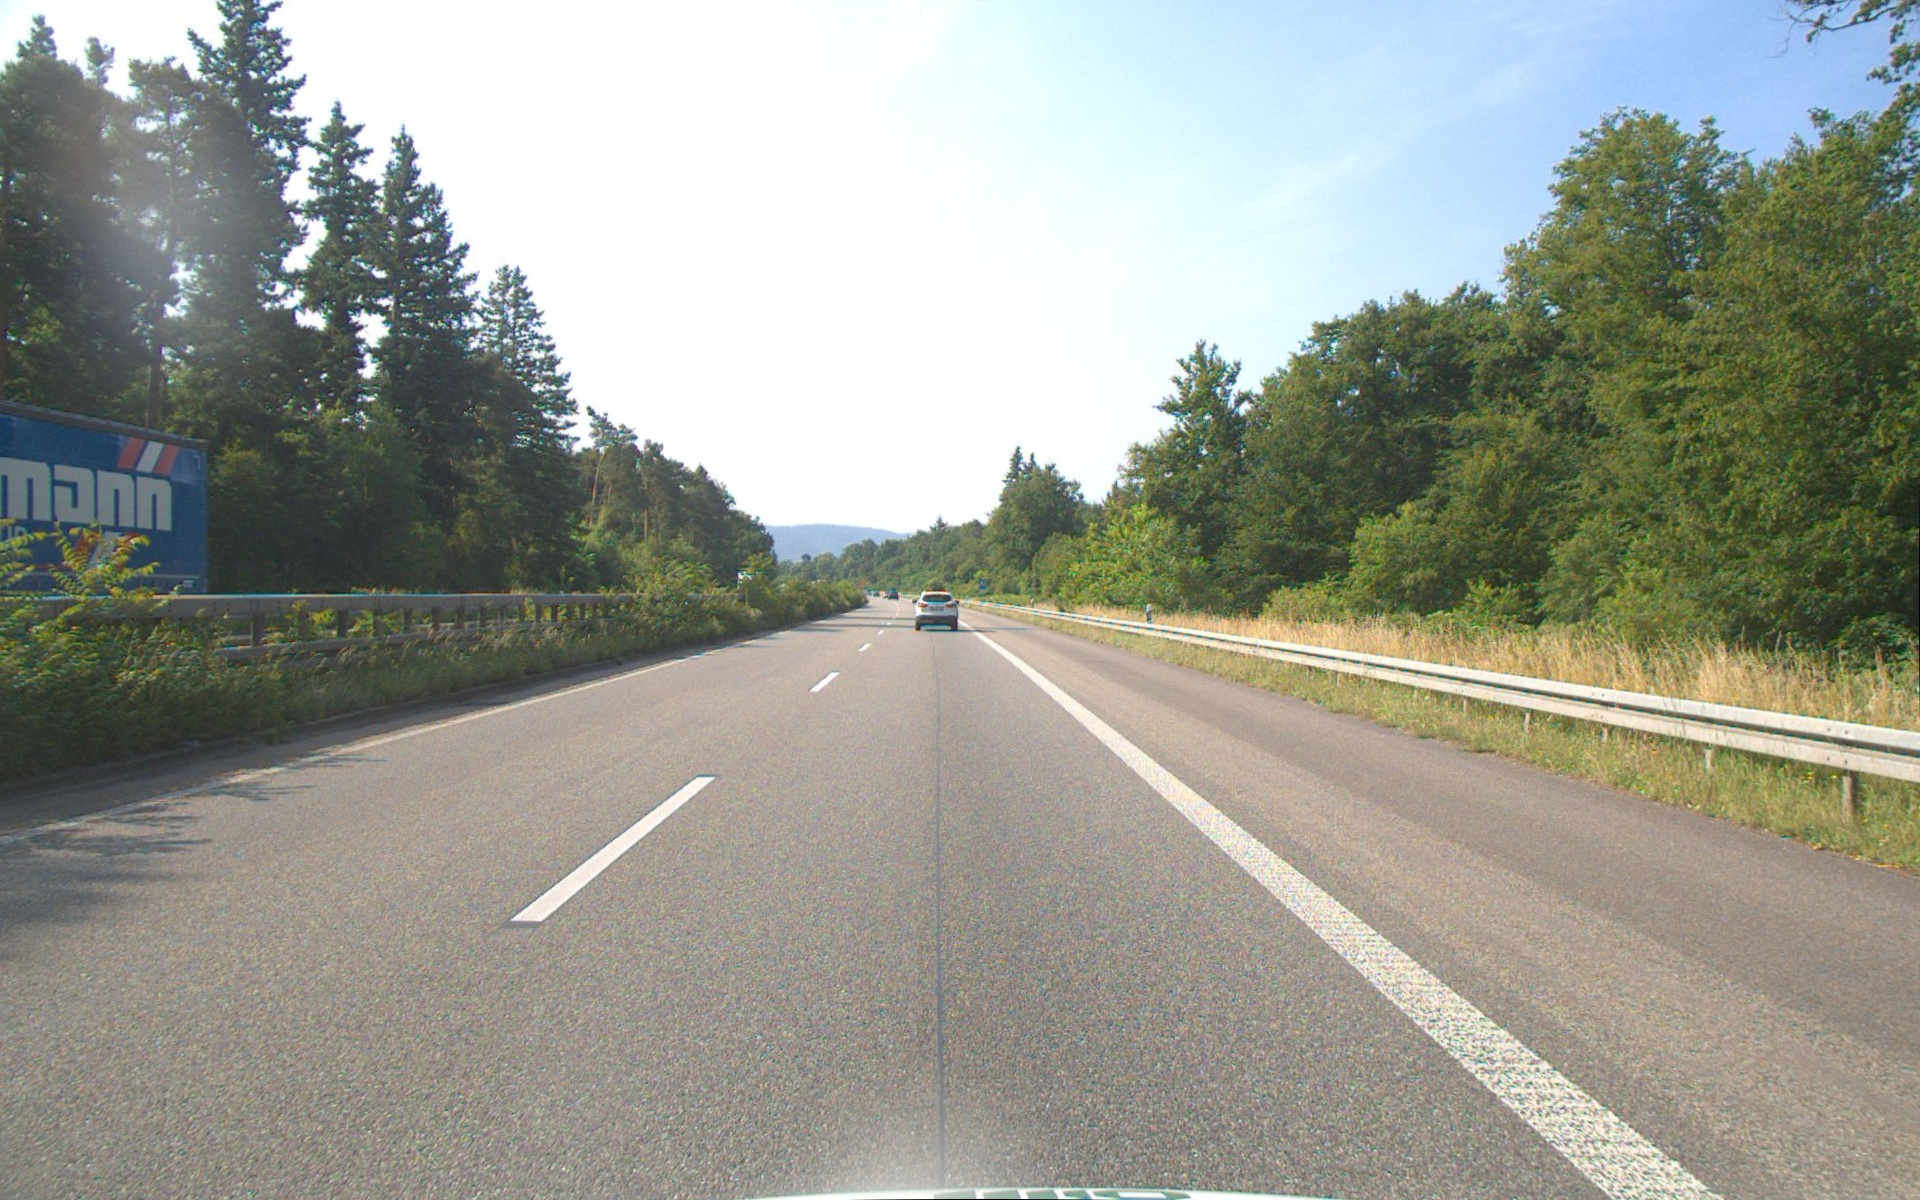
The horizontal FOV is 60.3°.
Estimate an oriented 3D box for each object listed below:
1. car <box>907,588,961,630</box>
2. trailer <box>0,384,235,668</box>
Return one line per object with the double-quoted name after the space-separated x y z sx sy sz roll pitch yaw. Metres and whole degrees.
-1.115 0.350 68.927 1.837 1.614 3.996 3 0 -6 "car"
-15.239 -1.049 24.968 2.834 4.078 13.321 -1 0 -1 "trailer"
